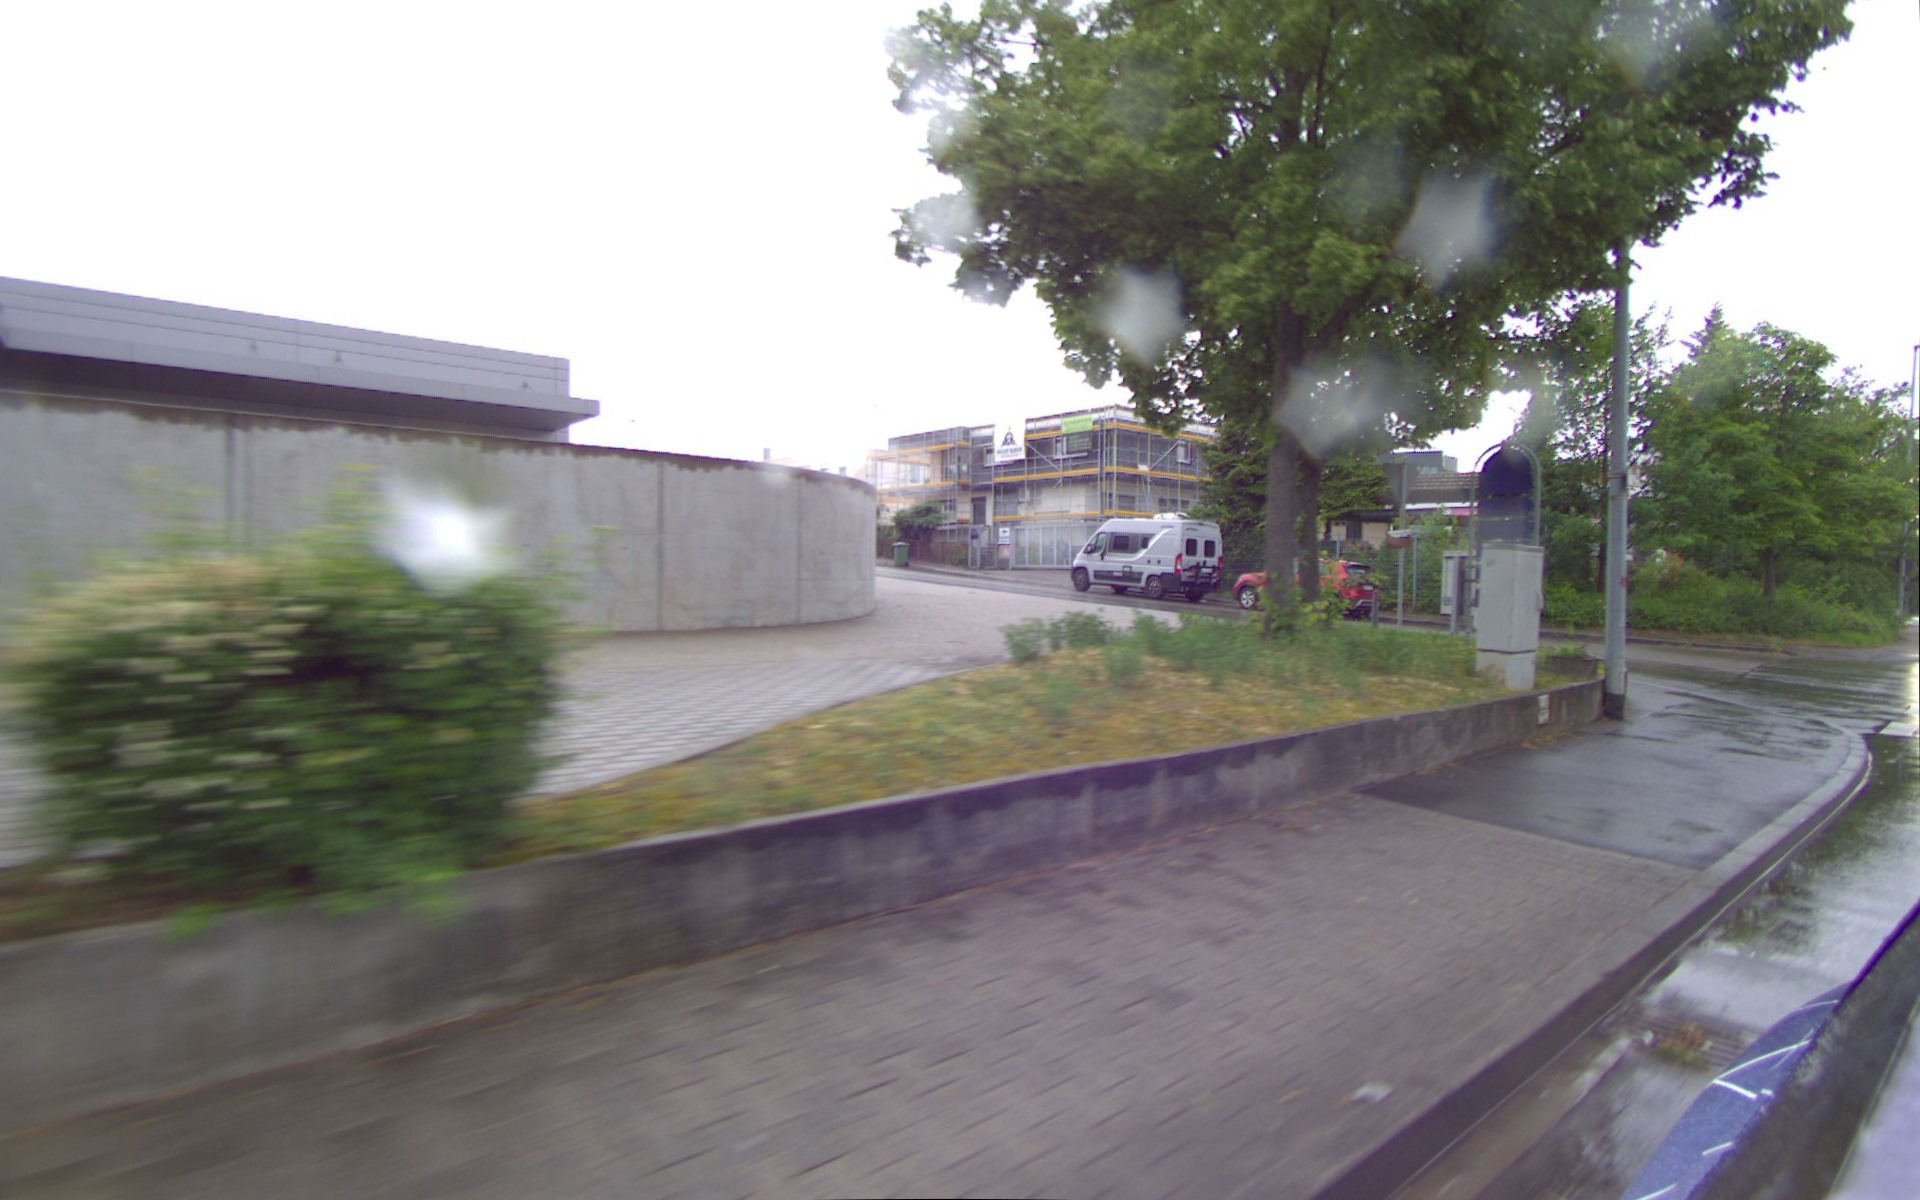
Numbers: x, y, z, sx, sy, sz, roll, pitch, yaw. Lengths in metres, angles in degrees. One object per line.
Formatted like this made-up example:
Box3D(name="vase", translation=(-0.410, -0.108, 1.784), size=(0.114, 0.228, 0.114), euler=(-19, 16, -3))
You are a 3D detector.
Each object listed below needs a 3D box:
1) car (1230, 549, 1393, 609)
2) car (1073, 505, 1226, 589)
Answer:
Box3D(name="car", translation=(9.662, -0.598, 28.023), size=(1.737, 1.517, 3.888), euler=(1, 1, -41))
Box3D(name="car", translation=(6.004, -1.660, 32.730), size=(1.961, 2.468, 4.921), euler=(1, 1, -33))
